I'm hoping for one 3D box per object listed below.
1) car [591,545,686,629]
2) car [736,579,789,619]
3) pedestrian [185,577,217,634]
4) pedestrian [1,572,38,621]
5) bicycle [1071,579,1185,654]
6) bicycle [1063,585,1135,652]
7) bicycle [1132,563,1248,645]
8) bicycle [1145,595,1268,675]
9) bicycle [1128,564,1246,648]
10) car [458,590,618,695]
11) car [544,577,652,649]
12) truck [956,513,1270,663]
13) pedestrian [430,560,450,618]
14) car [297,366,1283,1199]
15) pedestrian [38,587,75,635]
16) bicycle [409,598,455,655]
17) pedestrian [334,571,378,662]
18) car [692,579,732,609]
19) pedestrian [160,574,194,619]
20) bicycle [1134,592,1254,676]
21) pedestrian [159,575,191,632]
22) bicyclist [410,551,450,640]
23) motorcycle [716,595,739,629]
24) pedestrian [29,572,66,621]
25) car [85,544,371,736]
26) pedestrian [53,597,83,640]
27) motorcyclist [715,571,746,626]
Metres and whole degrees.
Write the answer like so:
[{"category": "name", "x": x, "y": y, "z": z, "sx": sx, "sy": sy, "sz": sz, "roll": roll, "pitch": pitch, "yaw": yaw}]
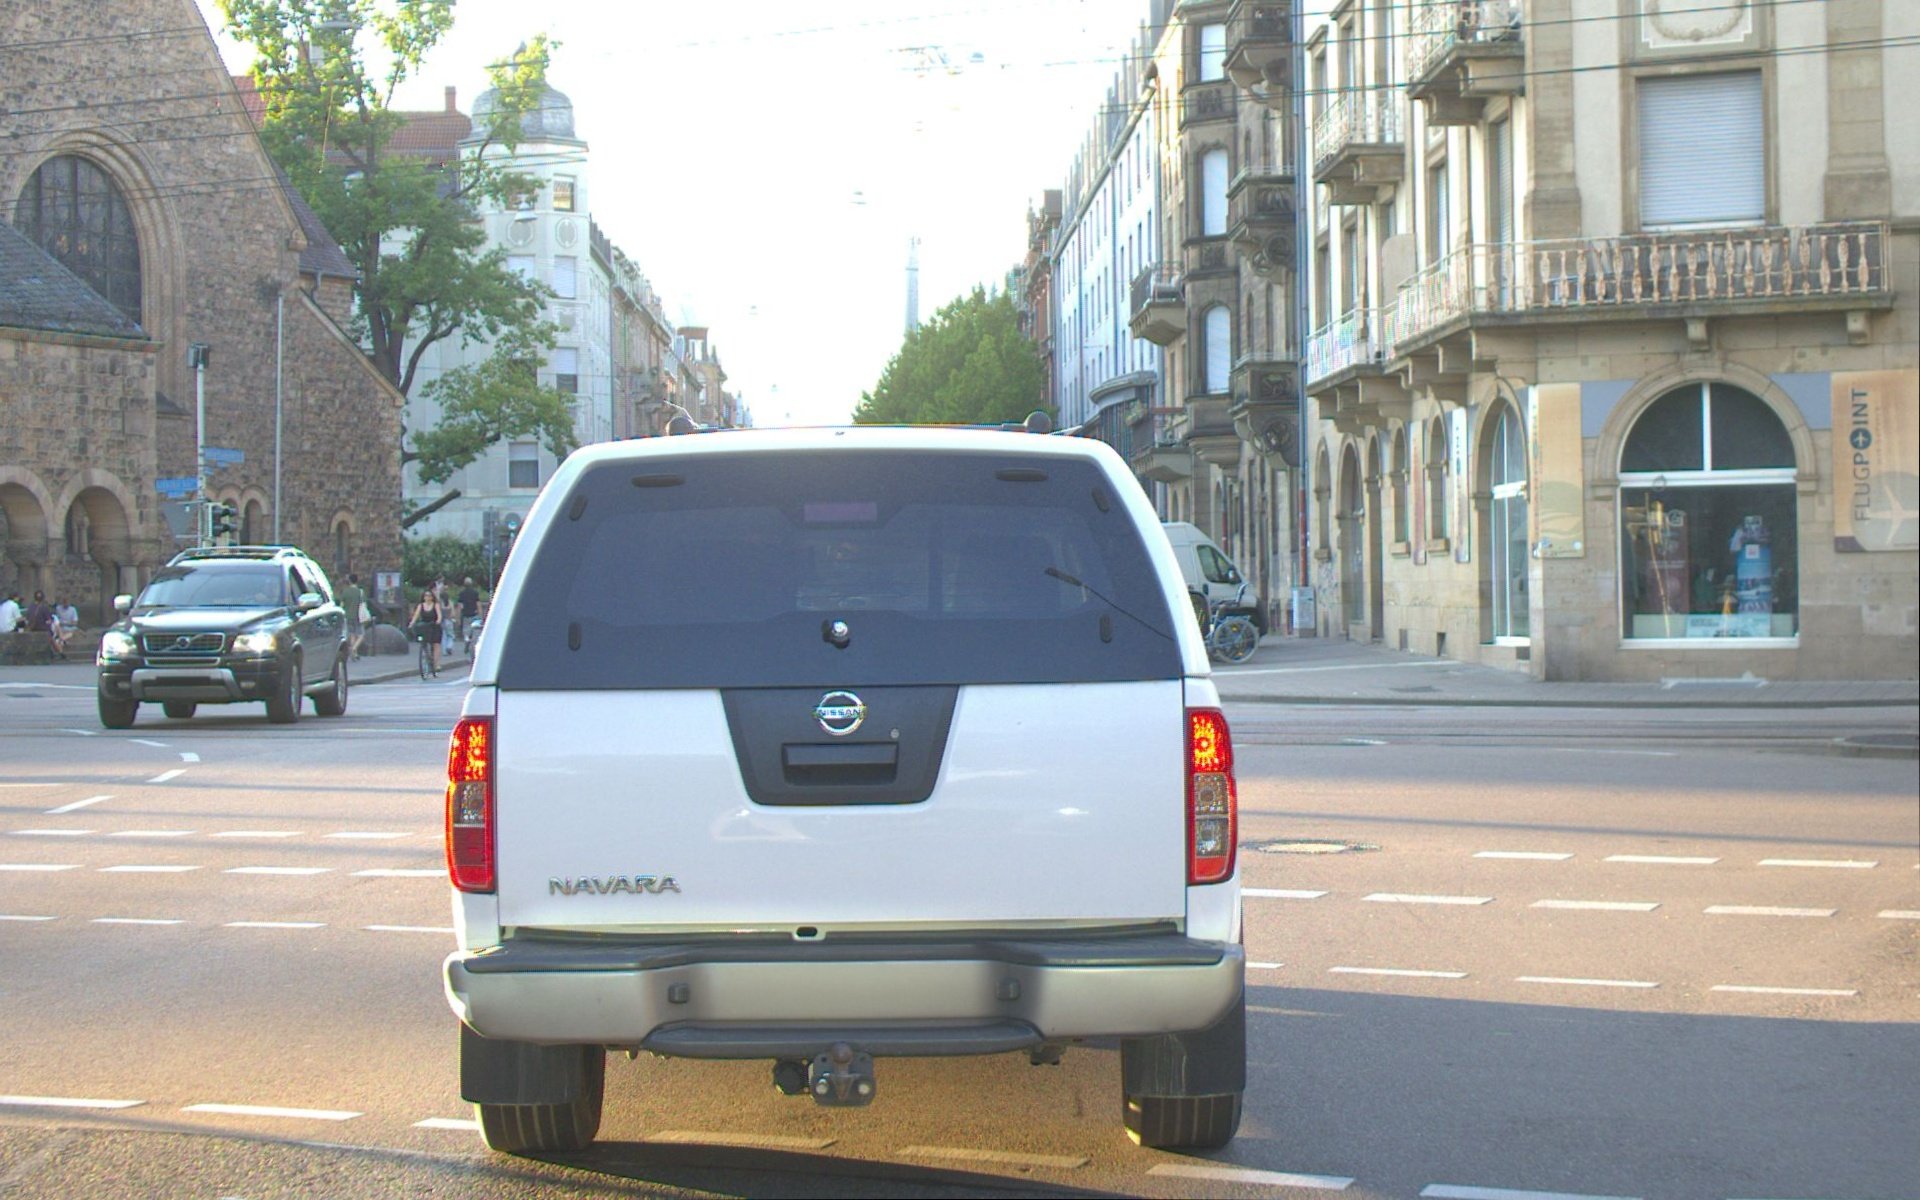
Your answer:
[{"category": "car", "x": -8.016, "y": -0.324, "z": 86.026, "sx": 1.993, "sy": 2.007, "sz": 4.951, "roll": -1, "pitch": 0, "yaw": -1}, {"category": "car", "x": -7.580, "y": -0.040, "z": 132.061, "sx": 1.858, "sy": 1.524, "sz": 4.000, "roll": 0, "pitch": 0, "yaw": -1}, {"category": "pedestrian", "x": -16.522, "y": 0.115, "z": 74.866, "sx": 0.478, "sy": 1.241, "sz": 0.523, "roll": 0, "pitch": 0, "yaw": 17}, {"category": "pedestrian", "x": -18.528, "y": -0.063, "z": 67.720, "sx": 0.522, "sy": 0.957, "sz": 0.479, "roll": 0, "pitch": 0, "yaw": 19}, {"category": "bicycle", "x": 2.700, "y": 0.263, "z": 55.275, "sx": 1.726, "sy": 1.080, "sz": 0.317, "roll": -4, "pitch": 0, "yaw": -2}, {"category": "bicycle", "x": 2.273, "y": 0.307, "z": 56.161, "sx": 1.077, "sy": 1.021, "sz": 0.317, "roll": -4, "pitch": 0, "yaw": -2}, {"category": "bicycle", "x": 3.821, "y": 0.062, "z": 57.179, "sx": 1.817, "sy": 1.233, "sz": 0.412, "roll": -4, "pitch": 0, "yaw": -2}, {"category": "bicycle", "x": 3.924, "y": 0.554, "z": 54.801, "sx": 1.817, "sy": 1.146, "sz": 0.636, "roll": -4, "pitch": 0, "yaw": -2}, {"category": "bicycle", "x": 3.724, "y": 0.096, "z": 56.454, "sx": 1.817, "sy": 1.233, "sz": 0.478, "roll": -4, "pitch": 0, "yaw": -2}, {"category": "car", "x": -7.201, "y": 0.693, "z": 59.090, "sx": 1.993, "sy": 1.552, "sz": 4.769, "roll": -2, "pitch": 1, "yaw": 2}, {"category": "car", "x": -7.913, "y": 0.269, "z": 75.493, "sx": 1.993, "sy": 1.472, "sz": 4.140, "roll": -2, "pitch": 1, "yaw": -1}, {"category": "truck", "x": 2.777, "y": -0.236, "z": 61.368, "sx": 5.658, "sy": 2.556, "sz": 2.286, "roll": -1, "pitch": 0, "yaw": -43}, {"category": "pedestrian", "x": -15.028, "y": -0.320, "z": 99.391, "sx": 0.560, "sy": 1.690, "sz": 0.645, "roll": 0, "pitch": 0, "yaw": -8}, {"category": "car", "x": -0.351, "y": 0.429, "z": 8.971, "sx": 1.993, "sy": 1.803, "sz": 4.000, "roll": 0, "pitch": 0, "yaw": 0}, {"category": "pedestrian", "x": -18.034, "y": 0.211, "z": 68.613, "sx": 0.478, "sy": 0.957, "sz": 0.522, "roll": 0, "pitch": 0, "yaw": 30}, {"category": "bicycle", "x": -9.787, "y": 0.484, "z": 63.734, "sx": 0.599, "sy": 1.040, "sz": 1.946, "roll": 0, "pitch": 0, "yaw": -1}, {"category": "pedestrian", "x": -12.718, "y": 0.348, "z": 72.408, "sx": 0.812, "sy": 1.894, "sz": 0.666, "roll": 0, "pitch": 0, "yaw": -2}, {"category": "car", "x": -12.779, "y": -0.293, "z": 177.187, "sx": 1.858, "sy": 1.524, "sz": 4.000, "roll": 0, "pitch": 0, "yaw": -1}, {"category": "pedestrian", "x": -16.658, "y": -0.066, "z": 73.141, "sx": 0.522, "sy": 0.957, "sz": 0.479, "roll": 0, "pitch": 0, "yaw": 17}, {"category": "bicycle", "x": 3.798, "y": 0.546, "z": 55.742, "sx": 1.817, "sy": 1.233, "sz": 0.488, "roll": -4, "pitch": 0, "yaw": -2}, {"category": "pedestrian", "x": -16.953, "y": 0.076, "z": 74.235, "sx": 0.478, "sy": 1.241, "sz": 0.523, "roll": 0, "pitch": 0, "yaw": 17}, {"category": "bicyclist", "x": -9.809, "y": -0.078, "z": 63.651, "sx": 0.599, "sy": 1.639, "sz": 0.963, "roll": 0, "pitch": 0, "yaw": -1}, {"category": "motorcycle", "x": -6.978, "y": 0.356, "z": 103.308, "sx": 0.599, "sy": 1.040, "sz": 1.946, "roll": 0, "pitch": 0, "yaw": -1}, {"category": "pedestrian", "x": -17.904, "y": -0.063, "z": 67.440, "sx": 0.522, "sy": 0.957, "sz": 0.479, "roll": 0, "pitch": 0, "yaw": 19}, {"category": "car", "x": -7.432, "y": 0.346, "z": 35.358, "sx": 1.993, "sy": 1.778, "sz": 4.798, "roll": 1, "pitch": 1, "yaw": -1}, {"category": "pedestrian", "x": -20.395, "y": 0.421, "z": 78.611, "sx": 0.551, "sy": 0.957, "sz": 0.710, "roll": 0, "pitch": 0, "yaw": -7}, {"category": "motorcyclist", "x": -6.906, "y": -0.057, "z": 103.419, "sx": 0.874, "sy": 1.639, "sz": 0.963, "roll": 0, "pitch": 0, "yaw": -1}]
